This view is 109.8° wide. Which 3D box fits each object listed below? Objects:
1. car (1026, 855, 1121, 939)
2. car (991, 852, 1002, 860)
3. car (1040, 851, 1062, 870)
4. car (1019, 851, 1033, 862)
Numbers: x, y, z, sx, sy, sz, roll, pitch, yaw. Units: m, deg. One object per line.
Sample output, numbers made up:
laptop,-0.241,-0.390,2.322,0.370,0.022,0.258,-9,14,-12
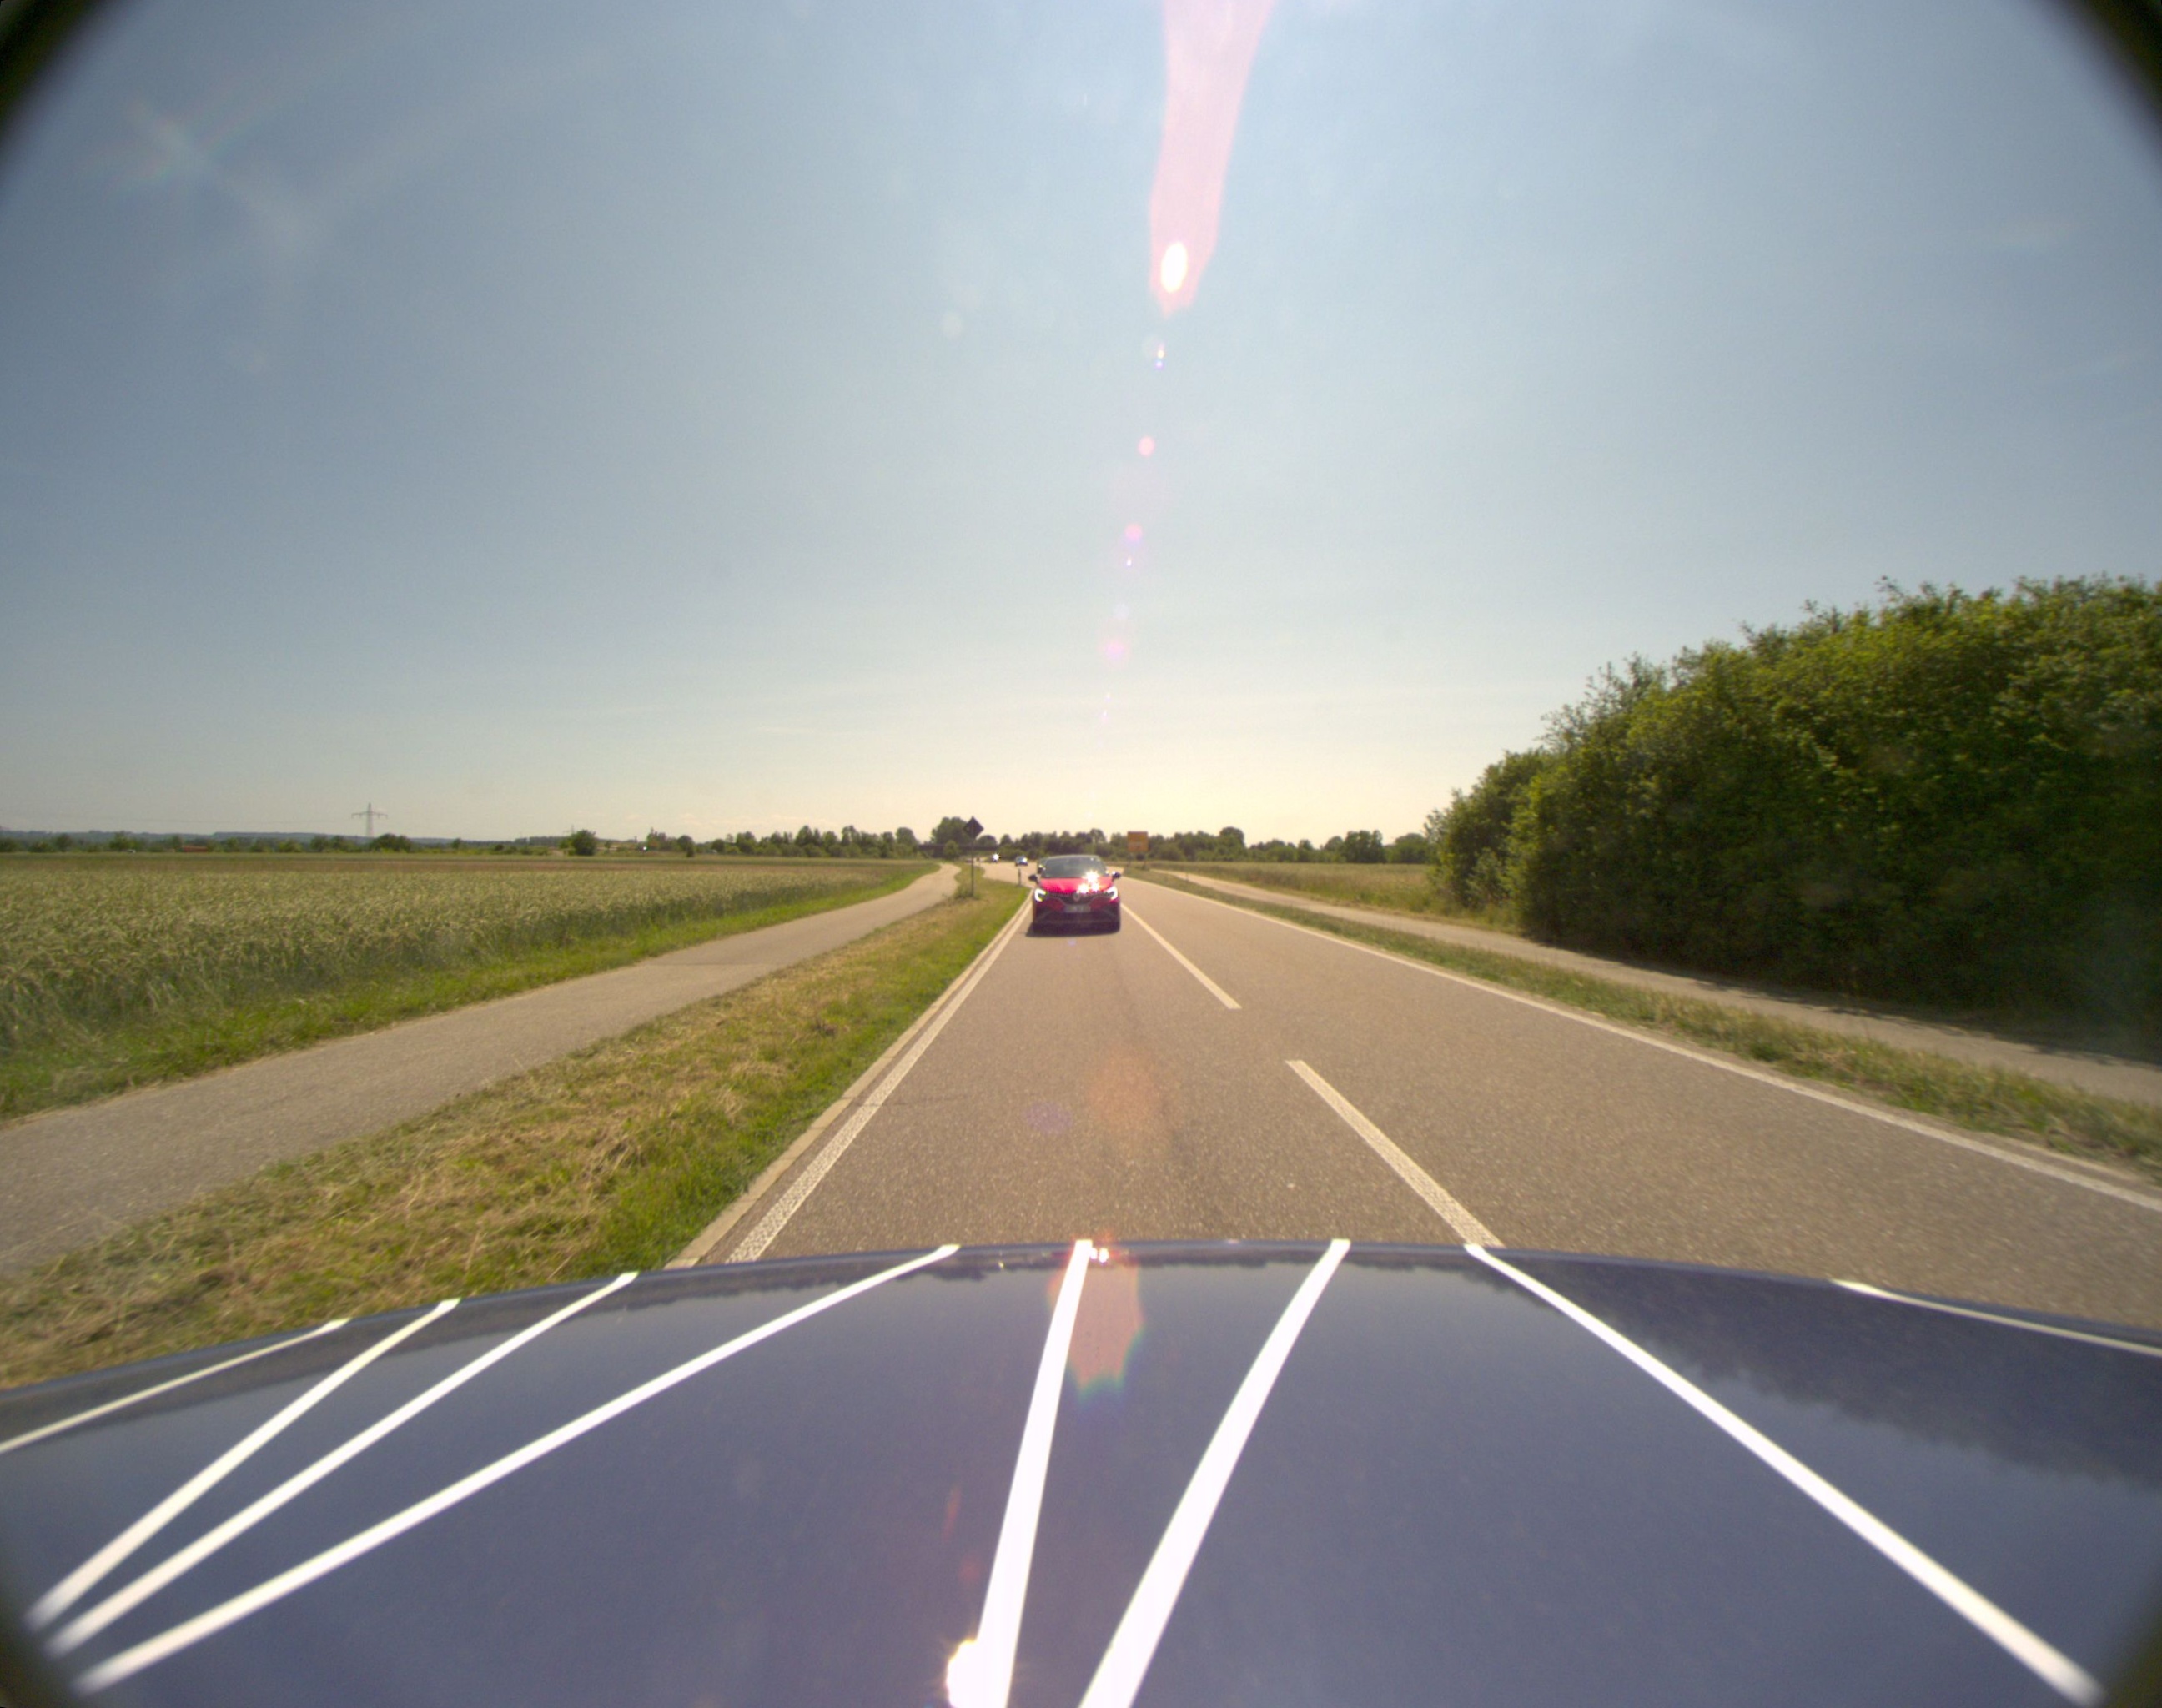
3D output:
car,-0.130,0.849,17.247,1.837,1.587,4.721,-1,0,0
car,-18.899,0.447,169.808,1.985,1.587,5.397,-1,0,-10
car,-2.744,0.584,70.155,1.983,1.587,5.401,-1,0,-2
car,-8.603,0.412,118.971,1.984,1.587,5.398,-1,0,-6
